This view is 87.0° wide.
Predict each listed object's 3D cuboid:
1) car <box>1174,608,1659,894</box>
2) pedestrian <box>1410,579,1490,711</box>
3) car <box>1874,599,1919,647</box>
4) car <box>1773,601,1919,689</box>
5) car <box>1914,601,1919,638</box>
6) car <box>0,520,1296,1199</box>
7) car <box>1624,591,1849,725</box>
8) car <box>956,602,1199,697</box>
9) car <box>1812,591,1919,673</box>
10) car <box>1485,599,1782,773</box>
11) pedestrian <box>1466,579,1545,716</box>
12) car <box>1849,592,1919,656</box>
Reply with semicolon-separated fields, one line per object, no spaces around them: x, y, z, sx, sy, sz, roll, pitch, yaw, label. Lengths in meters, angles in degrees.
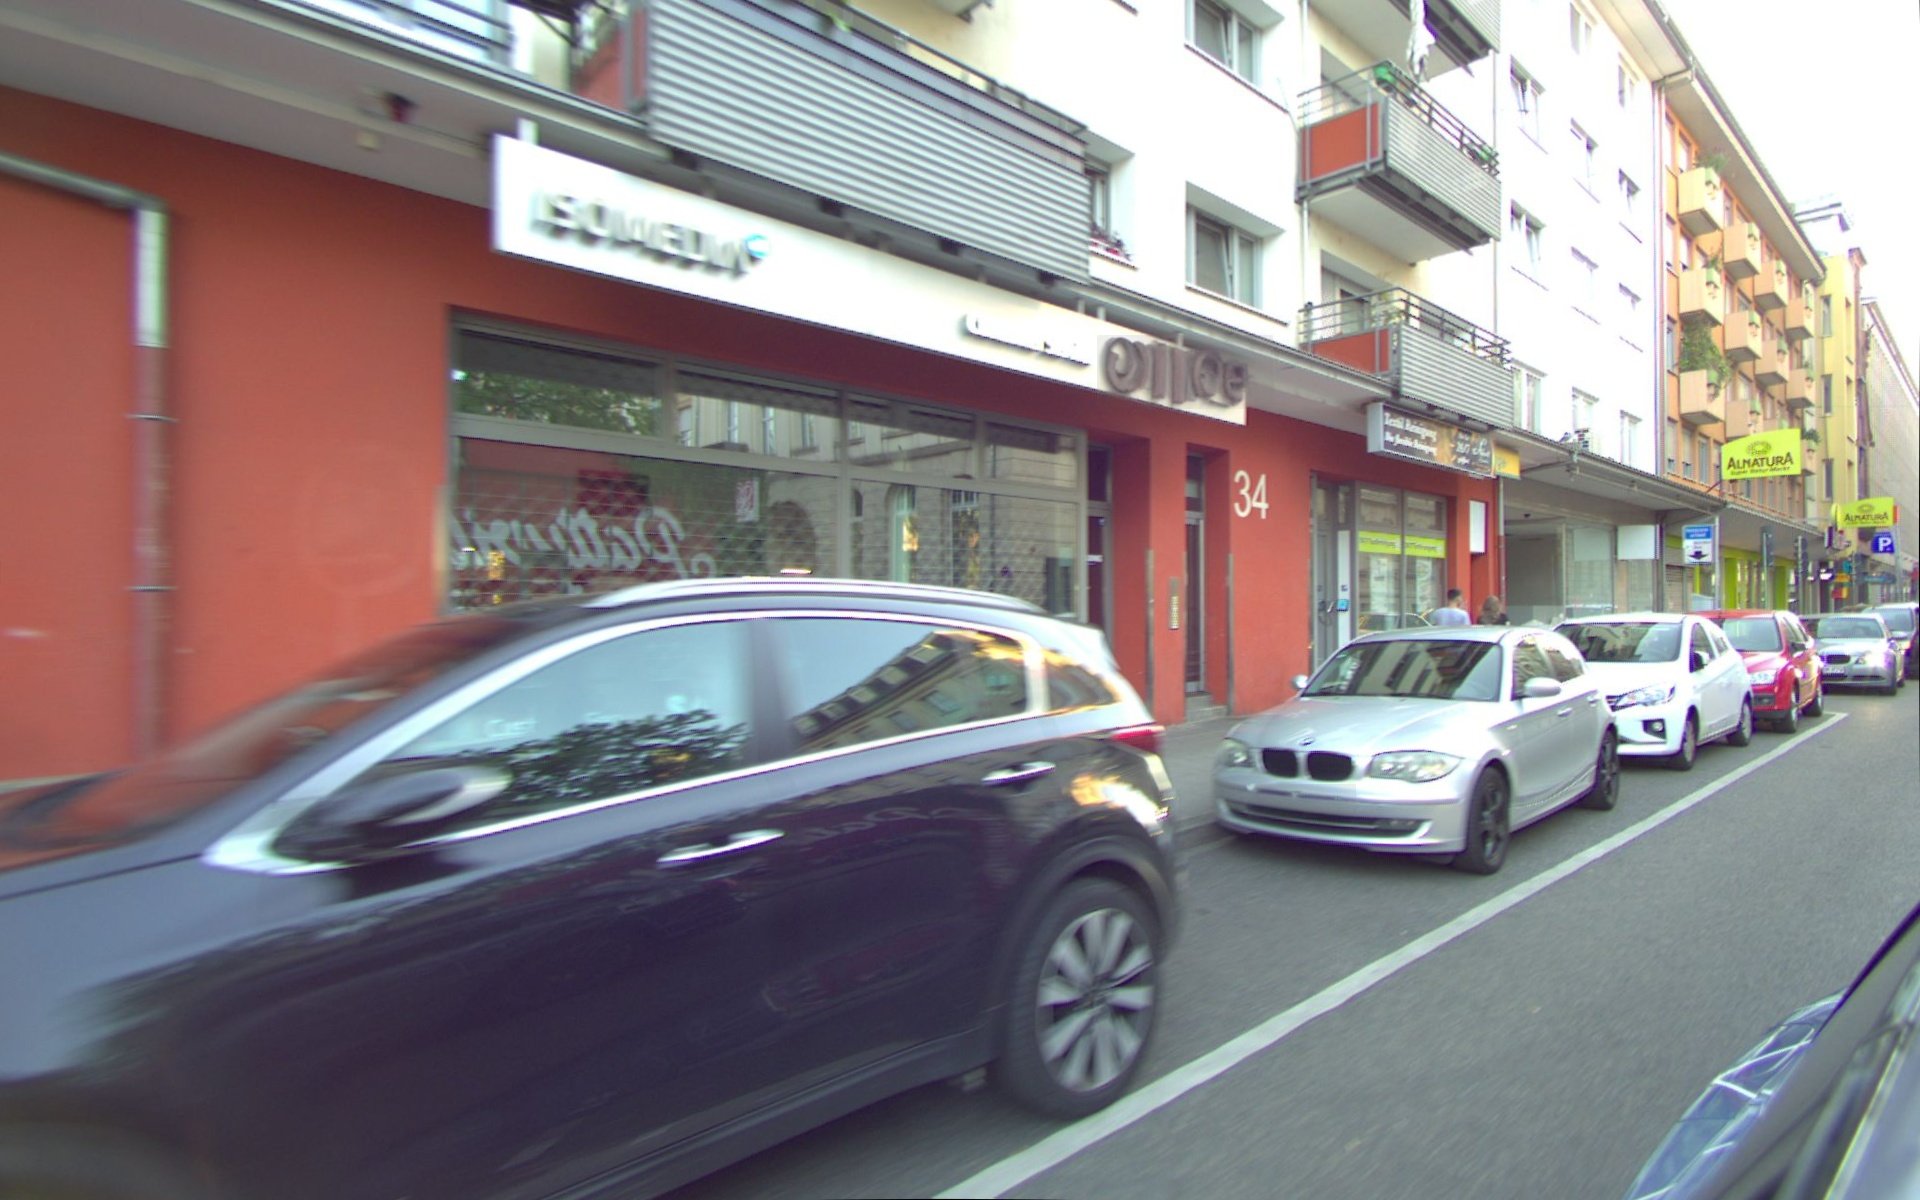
3.540;0.832;7.382;4.384;1.471;1.699;1;-3;-44;car
6.586;0.580;13.594;0.780;1.682;0.649;1;2;-40;pedestrian
30.472;0.718;32.069;4.674;1.433;1.693;1;-3;-42;car
16.561;0.788;18.731;4.604;1.434;1.737;1;-3;-44;car
39.673;0.756;40.733;1.691;1.429;4.563;-4;-3;45;car
-1.078;0.763;2.906;4.708;1.663;1.766;1;-3;-42;car
10.651;0.715;13.751;4.574;1.532;1.713;1;-3;-44;car
1.990;0.727;16.556;3.929;1.353;1.743;1;0;-40;car
20.508;0.686;22.245;4.404;1.631;1.798;0;-3;-38;car
7.296;0.802;10.817;3.977;1.532;1.608;1;-3;-41;car
7.032;0.584;13.049;0.643;1.682;0.649;1;2;-40;pedestrian
26.859;0.687;28.784;4.674;1.690;1.754;1;-3;-42;car
